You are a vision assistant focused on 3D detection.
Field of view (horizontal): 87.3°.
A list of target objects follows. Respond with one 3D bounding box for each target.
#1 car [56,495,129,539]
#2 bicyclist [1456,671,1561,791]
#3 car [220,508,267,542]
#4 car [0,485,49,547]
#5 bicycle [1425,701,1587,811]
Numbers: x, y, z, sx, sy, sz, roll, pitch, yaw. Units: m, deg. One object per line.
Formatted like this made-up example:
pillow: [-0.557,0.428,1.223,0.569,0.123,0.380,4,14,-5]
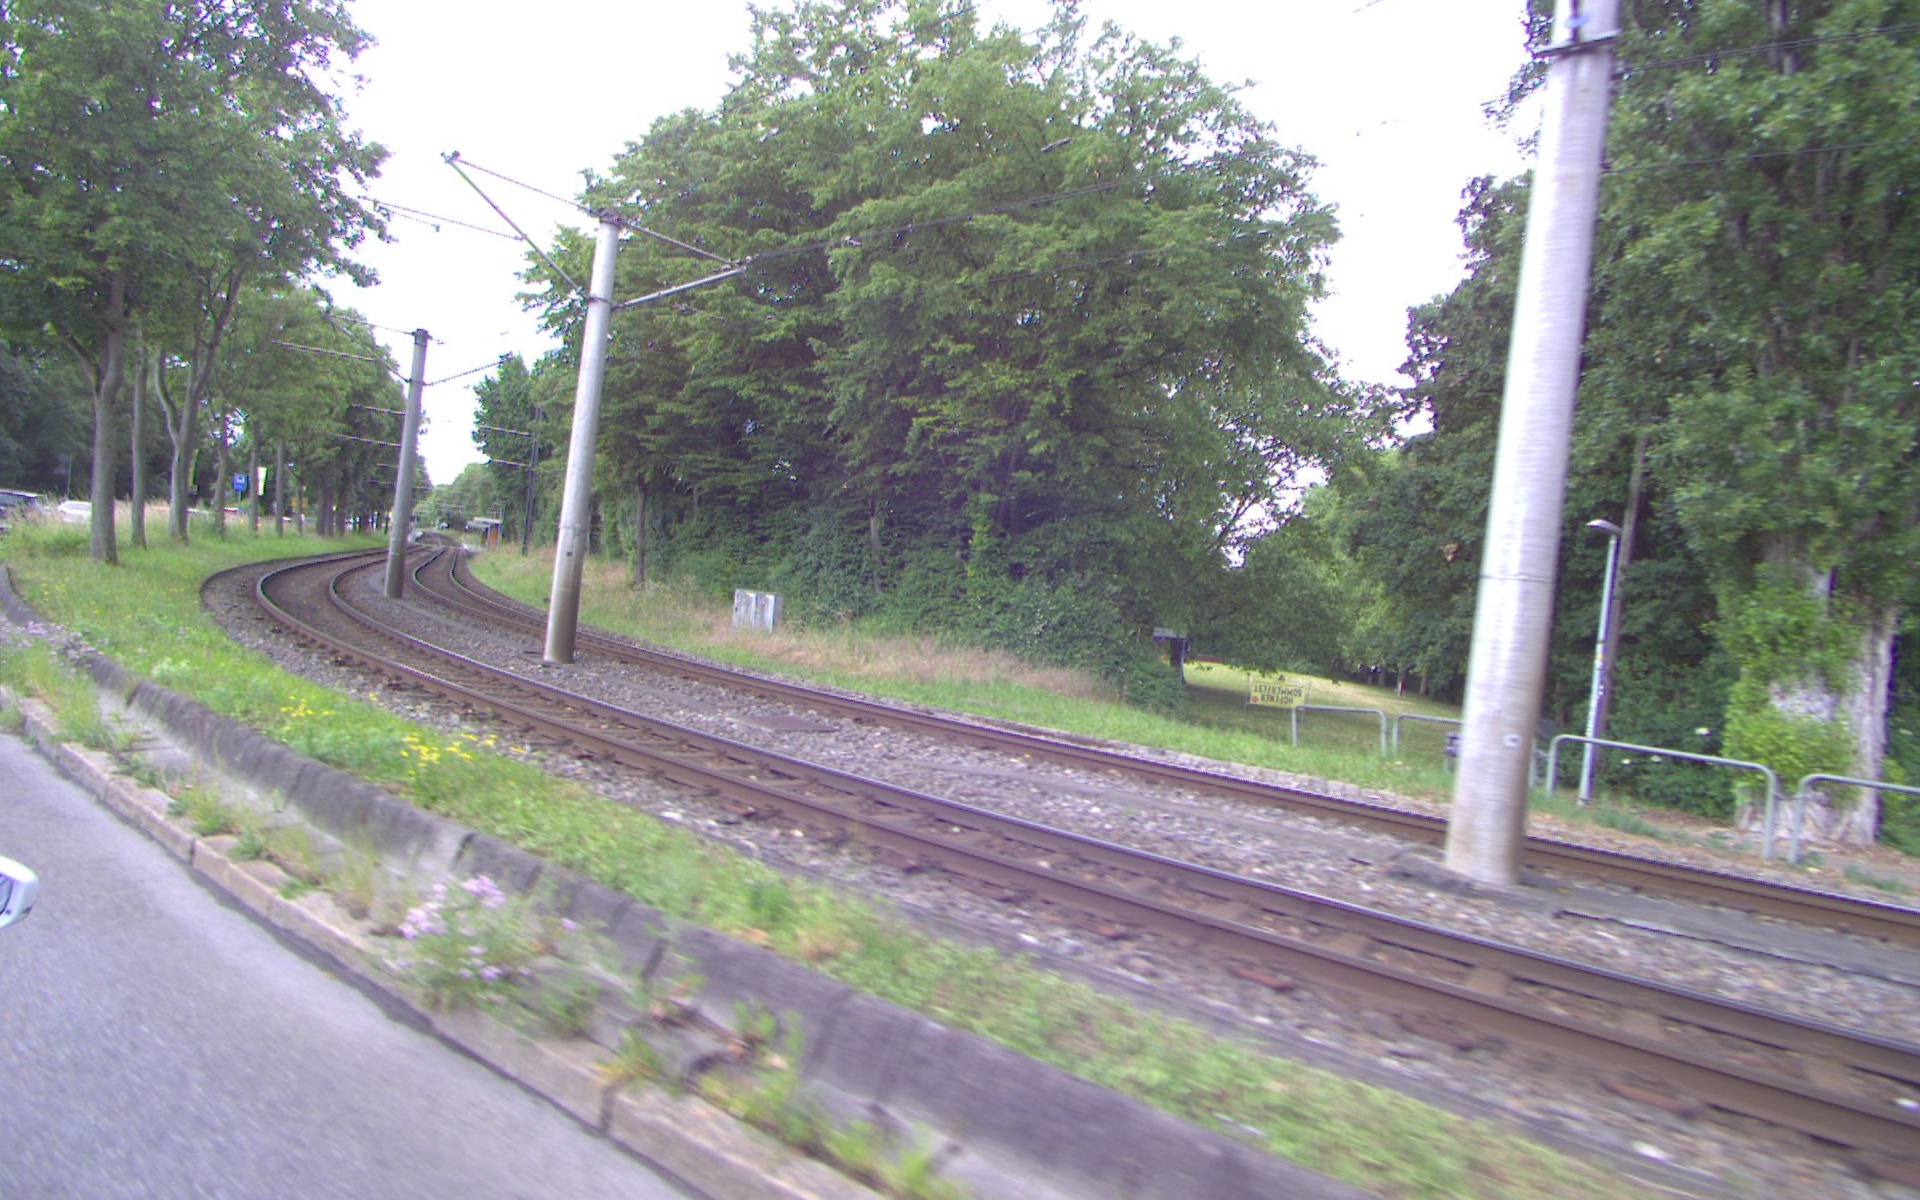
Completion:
car: [-32.530,-3.064,37.801,1.490,1.381,3.556,6,0,-33]
bicyclist: [7.067,1.674,13.006,0.586,1.376,0.908,8,-1,-15]
car: [-47.846,-4.968,67.231,1.912,1.882,3.972,7,0,-28]
car: [-27.075,-2.422,28.527,1.571,1.557,3.955,7,0,-40]
bicycle: [6.985,1.970,13.006,0.420,1.062,2.074,8,-1,-14]
